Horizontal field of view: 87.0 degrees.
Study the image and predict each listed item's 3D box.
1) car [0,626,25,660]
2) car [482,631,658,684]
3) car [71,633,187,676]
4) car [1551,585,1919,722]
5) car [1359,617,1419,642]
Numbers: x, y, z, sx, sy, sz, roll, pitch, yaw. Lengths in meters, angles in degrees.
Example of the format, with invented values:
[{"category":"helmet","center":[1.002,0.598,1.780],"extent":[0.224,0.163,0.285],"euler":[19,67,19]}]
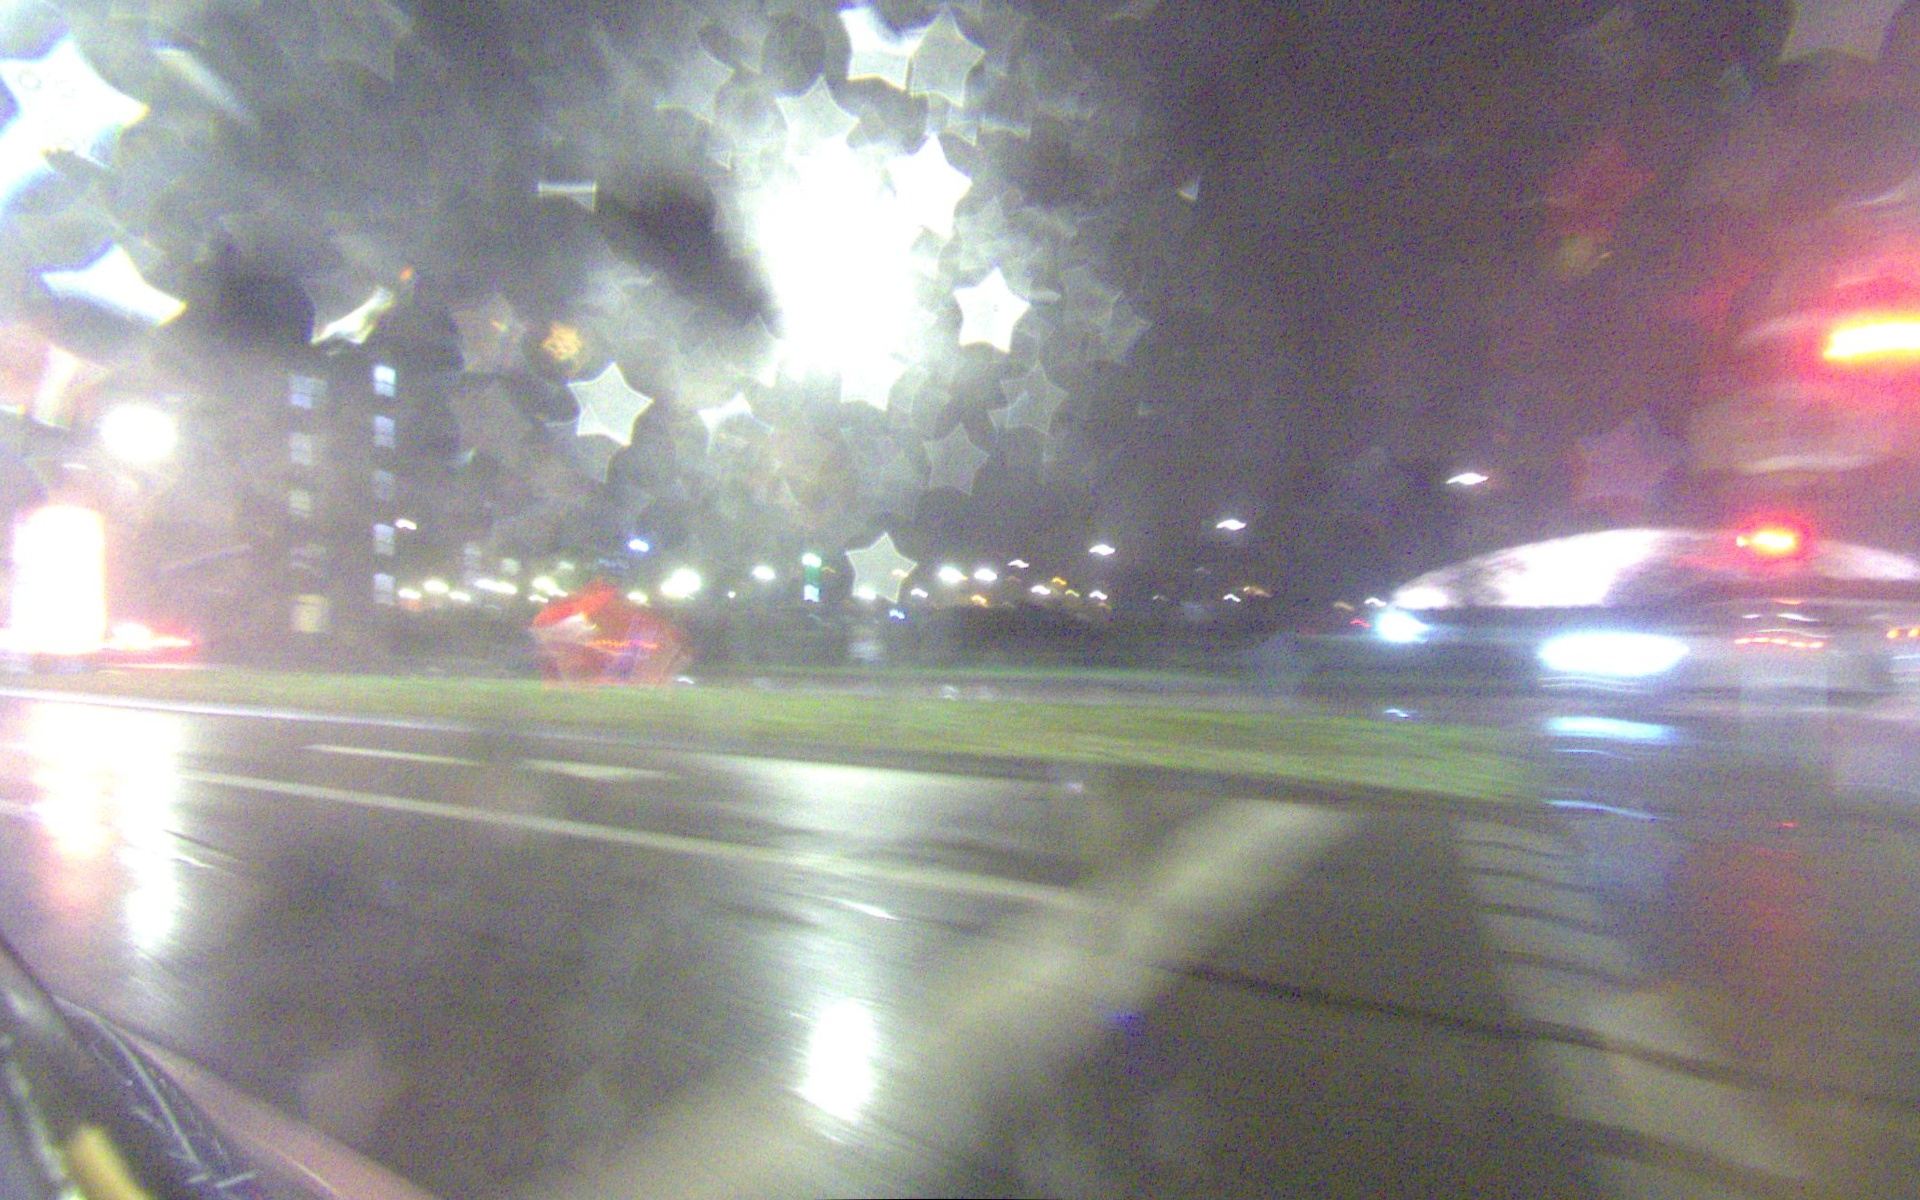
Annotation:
[{"category":"car","center":[-43.912,1.956,45.304],"extent":[3.981,1.475,1.817],"euler":[-2,-1,28]},{"category":"car","center":[-11.637,1.684,30.096],"extent":[5.327,1.413,1.980],"euler":[-2,-1,30]},{"category":"car","center":[-31.594,2.064,38.452],"extent":[4.639,1.475,1.817],"euler":[-2,-1,29]},{"category":"car","center":[11.364,0.709,14.083],"extent":[4.997,1.729,2.059],"euler":[-2,-1,17]},{"category":"car","center":[28.961,1.972,68.470],"extent":[1.651,1.541,4.010],"euler":[-1,-1,-12]}]
